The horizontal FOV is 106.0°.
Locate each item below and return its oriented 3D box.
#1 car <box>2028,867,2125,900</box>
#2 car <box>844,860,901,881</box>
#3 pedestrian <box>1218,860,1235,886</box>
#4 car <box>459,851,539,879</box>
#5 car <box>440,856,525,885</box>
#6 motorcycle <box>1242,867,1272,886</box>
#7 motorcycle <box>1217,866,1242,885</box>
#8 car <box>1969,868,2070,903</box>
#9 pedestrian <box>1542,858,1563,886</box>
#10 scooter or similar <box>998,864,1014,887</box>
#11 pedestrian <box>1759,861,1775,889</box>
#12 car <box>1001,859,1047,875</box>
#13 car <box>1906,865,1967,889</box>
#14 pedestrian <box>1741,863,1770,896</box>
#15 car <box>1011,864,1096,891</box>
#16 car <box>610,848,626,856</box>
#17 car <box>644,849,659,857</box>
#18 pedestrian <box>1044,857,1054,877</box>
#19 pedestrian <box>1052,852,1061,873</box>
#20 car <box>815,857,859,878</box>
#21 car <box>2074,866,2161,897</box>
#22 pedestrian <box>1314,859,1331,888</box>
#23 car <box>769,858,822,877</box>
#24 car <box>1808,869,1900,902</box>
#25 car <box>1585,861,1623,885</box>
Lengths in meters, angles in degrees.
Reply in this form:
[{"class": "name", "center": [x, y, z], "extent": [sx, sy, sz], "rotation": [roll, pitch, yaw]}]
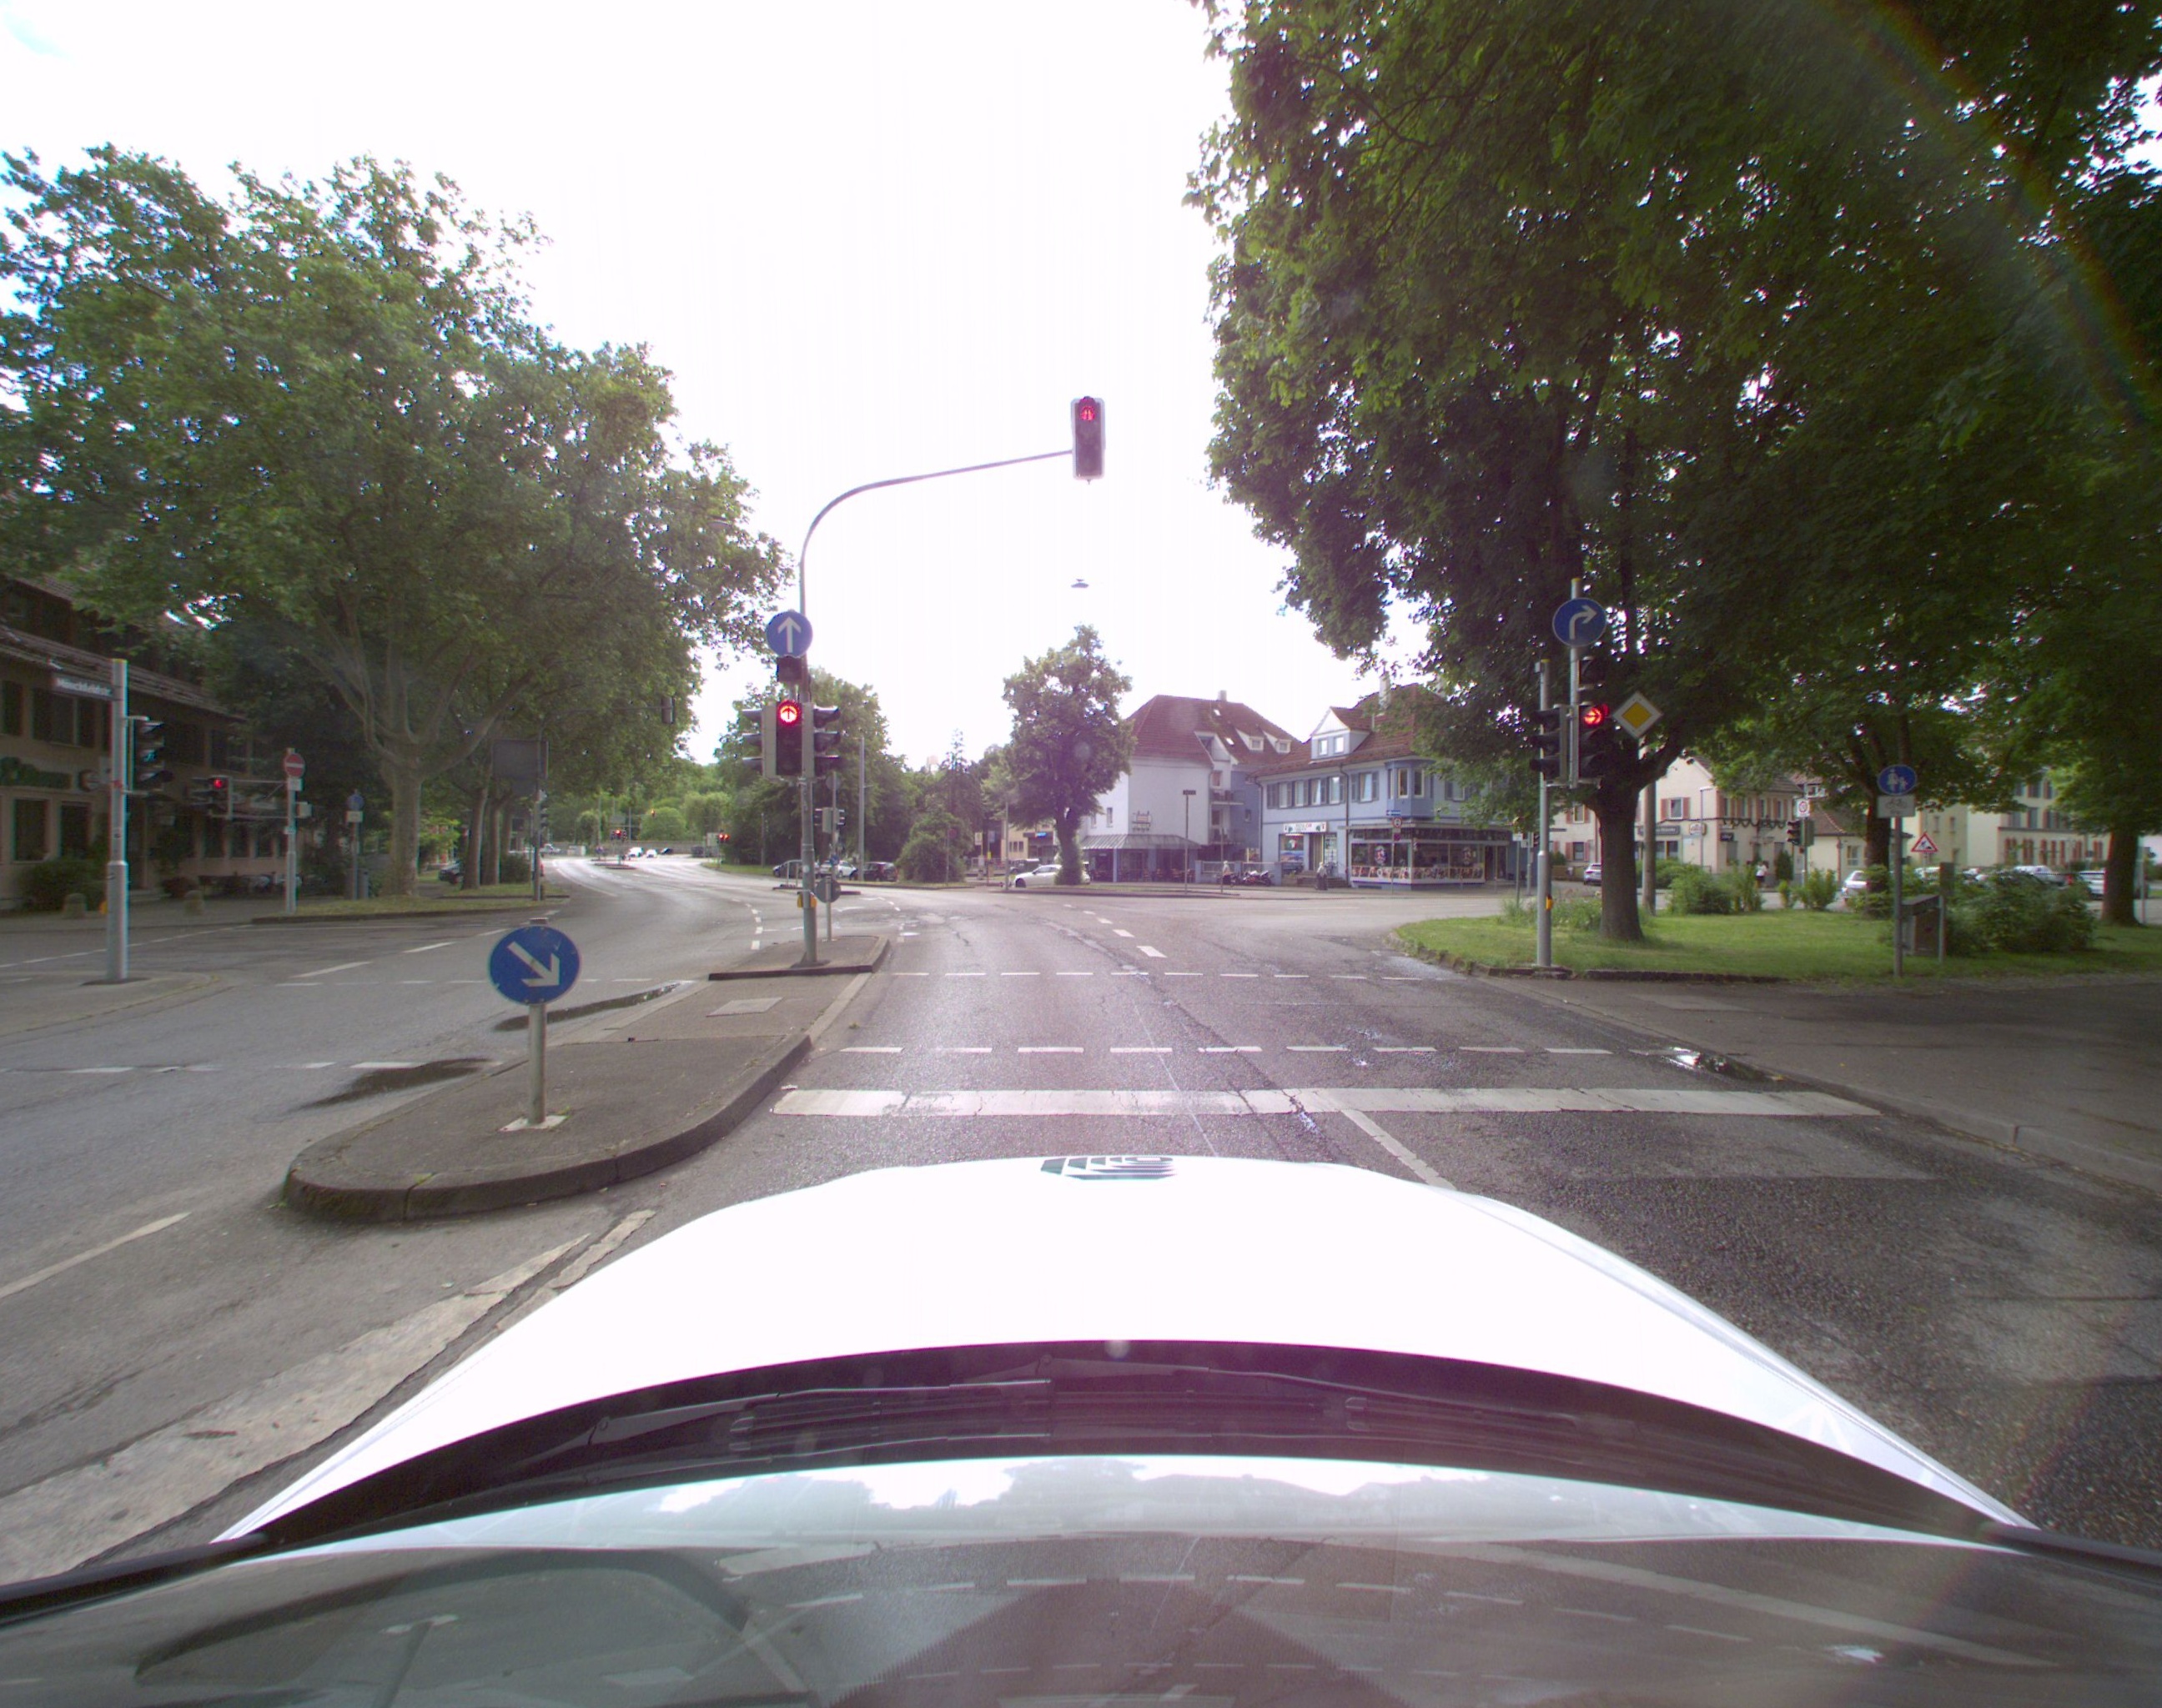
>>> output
[{"class": "car", "center": [47.079, 1.375, 38.518], "extent": [3.731, 1.457, 1.640], "rotation": [0, 0, -17]}, {"class": "car", "center": [-13.826, 1.061, 54.005], "extent": [3.285, 1.352, 1.791], "rotation": [0, 0, 29]}, {"class": "pedestrian", "center": [8.605, 1.122, 48.203], "extent": [0.724, 1.560, 0.773], "rotation": [-1, -1, 33]}, {"class": "car", "center": [-36.460, 0.686, 51.182], "extent": [4.015, 1.684, 1.979], "rotation": [0, -1, -34]}, {"class": "car", "center": [-35.630, 0.961, 48.612], "extent": [4.015, 1.684, 1.979], "rotation": [0, -1, -34]}, {"class": "motorcycle", "center": [10.428, 1.324, 48.248], "extent": [1.609, 1.088, 0.631], "rotation": [-1, -1, 34]}, {"class": "motorcycle", "center": [9.135, 1.314, 50.050], "extent": [1.441, 1.088, 0.527], "rotation": [-1, -1, 37]}, {"class": "car", "center": [42.345, 1.384, 36.755], "extent": [3.731, 1.457, 1.640], "rotation": [0, 0, -17]}, {"class": "pedestrian", "center": [26.459, 0.994, 45.728], "extent": [0.671, 1.560, 0.743], "rotation": [0, -1, -13]}, {"class": "scooter or similar", "center": [-3.952, 1.144, 42.850], "extent": [0.439, 1.175, 1.442], "rotation": [-1, -1, 11]}, {"class": "pedestrian", "center": [39.698, 1.216, 47.118], "extent": [0.504, 1.560, 0.507], "rotation": [0, -1, -13]}, {"class": "car", "center": [-5.319, 1.243, 75.921], "extent": [3.948, 1.442, 1.742], "rotation": [0, -1, -18]}, {"class": "car", "center": [55.330, 1.454, 52.671], "extent": [3.871, 1.447, 1.753], "rotation": [0, -1, -28]}, {"class": "pedestrian", "center": [22.037, 0.825, 26.606], "extent": [0.505, 1.081, 0.514], "rotation": [0, -1, -13]}, {"class": "car", "center": [-1.595, 1.291, 45.936], "extent": [4.654, 1.410, 1.914], "rotation": [0, -1, 37]}, {"class": "car", "center": [-86.978, -0.405, 152.961], "extent": [3.293, 1.486, 1.594], "rotation": [-1, -2, 43]}, {"class": "car", "center": [-83.022, -0.243, 157.451], "extent": [2.988, 1.417, 1.509], "rotation": [-1, -2, 42]}, {"class": "pedestrian", "center": [-3.207, 1.307, 80.994], "extent": [0.838, 2.014, 1.051], "rotation": [0, -1, -12]}, {"class": "pedestrian", "center": [-1.766, 0.622, 59.401], "extent": [0.538, 1.560, 0.470], "rotation": [-1, -1, 15]}, {"class": "car", "center": [-20.134, 1.093, 67.412], "extent": [1.848, 1.640, 3.768], "rotation": [0, 0, 13]}, {"class": "car", "center": [52.596, 1.375, 41.255], "extent": [3.731, 1.457, 1.640], "rotation": [0, 0, -17]}, {"class": "pedestrian", "center": [13.188, 1.064, 44.473], "extent": [0.687, 1.560, 0.671], "rotation": [-1, -1, 33]}, {"class": "car", "center": [-22.588, 1.034, 64.521], "extent": [3.742, 1.465, 1.629], "rotation": [0, 0, 20]}, {"class": "car", "center": [31.780, 1.279, 33.508], "extent": [3.007, 1.267, 1.455], "rotation": [0, -1, -17]}, {"class": "car", "center": [32.459, 1.147, 50.622], "extent": [1.866, 1.391, 3.637], "rotation": [0, 0, 31]}]
